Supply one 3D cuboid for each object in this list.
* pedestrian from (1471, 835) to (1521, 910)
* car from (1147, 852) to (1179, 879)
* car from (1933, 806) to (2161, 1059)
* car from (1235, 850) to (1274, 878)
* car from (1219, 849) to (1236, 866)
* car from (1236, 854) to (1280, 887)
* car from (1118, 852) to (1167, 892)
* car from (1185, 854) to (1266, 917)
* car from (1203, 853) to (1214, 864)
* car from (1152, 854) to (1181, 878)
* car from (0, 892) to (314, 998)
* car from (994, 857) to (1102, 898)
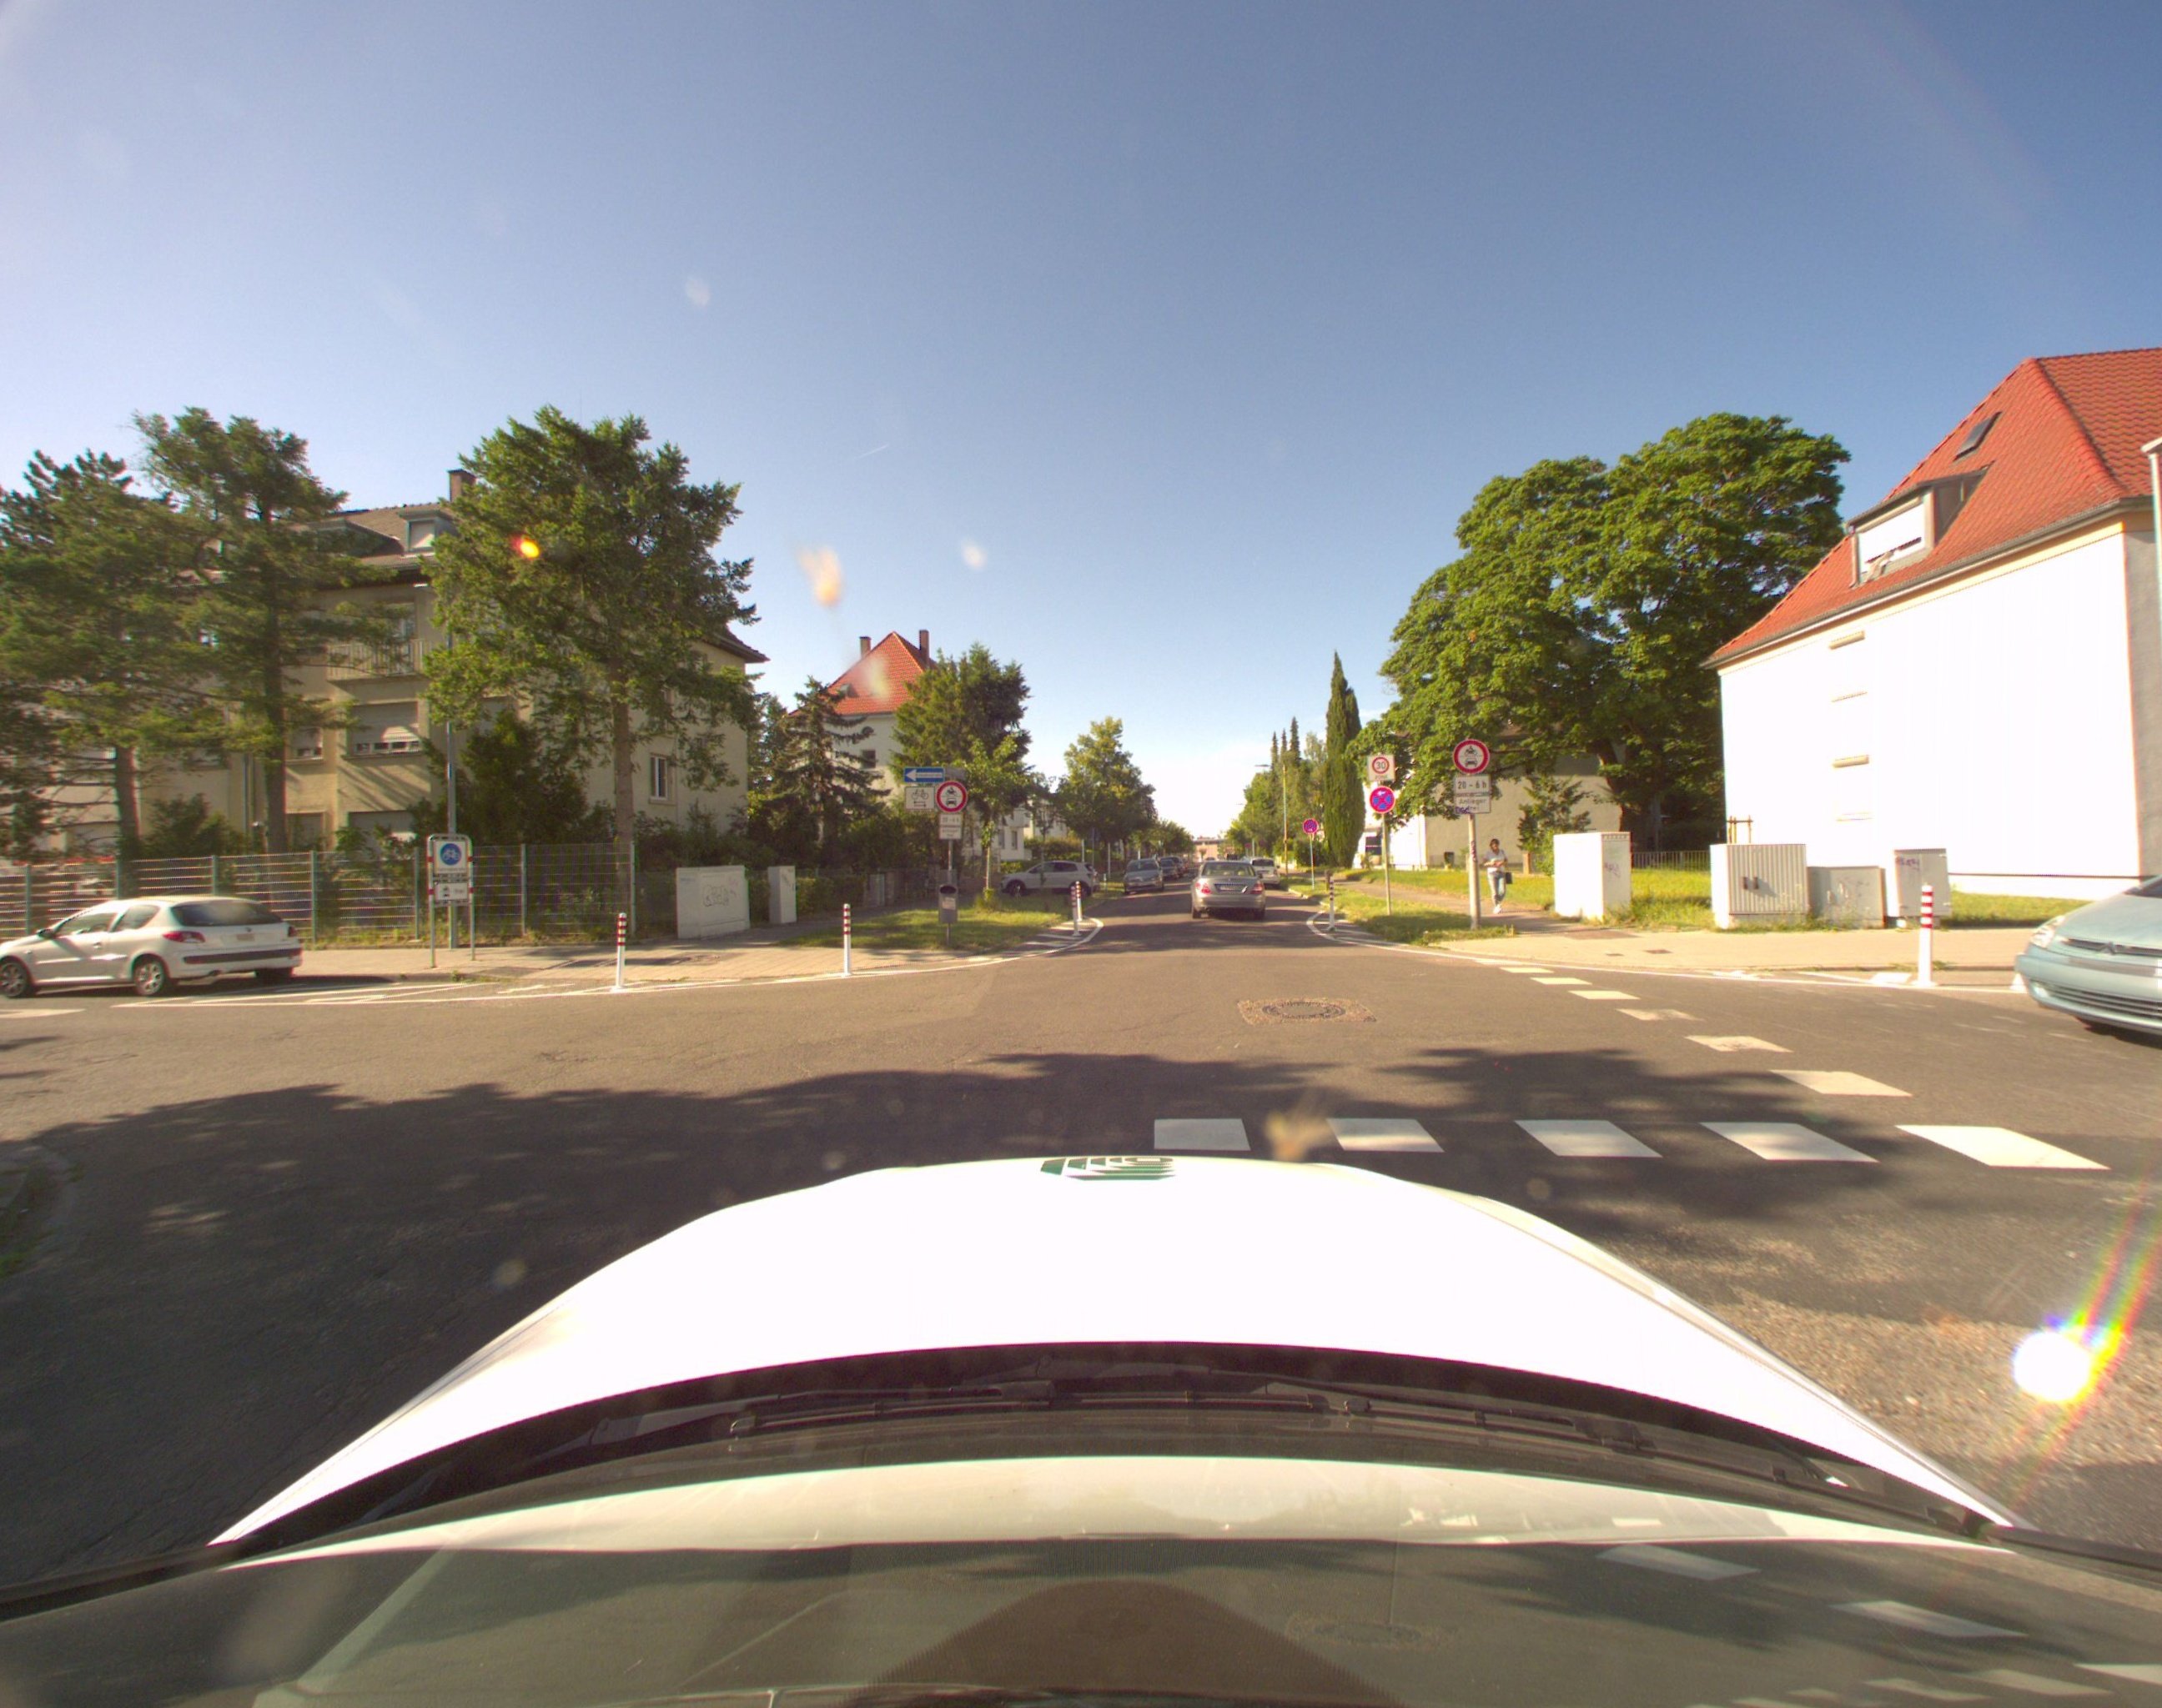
[{"bbox_3d":[9.266,0.405,18.203,0.761,1.611,0.837,-2,-1,13],"label":"pedestrian"},{"bbox_3d":[5.607,0.774,55.533,1.983,1.609,4.008,-5,-1,7],"label":"car"},{"bbox_3d":[9.063,0.427,5.545,4.208,1.608,1.894,-2,0,9],"label":"car"},{"bbox_3d":[10.621,0.583,50.095,1.983,1.609,4.008,-2,0,7],"label":"car"},{"bbox_3d":[17.015,0.384,94.699,1.844,1.841,4.009,-2,0,8],"label":"car"},{"bbox_3d":[8.517,0.749,39.431,1.724,1.480,3.732,-2,0,7],"label":"car"},{"bbox_3d":[2.910,0.795,37.884,1.983,1.609,4.008,-5,-1,7],"label":"car"},{"bbox_3d":[3.665,0.733,20.751,1.825,1.441,4.011,-1,0,10],"label":"car"},{"bbox_3d":[20.506,0.727,131.121,1.589,1.609,3.651,-2,0,7],"label":"car"},{"bbox_3d":[6.443,0.886,61.279,1.983,1.609,4.008,-5,-1,7],"label":"car"},{"bbox_3d":[-14.353,1.369,12.541,3.742,1.398,1.711,-2,-1,8],"label":"car"},{"bbox_3d":[-1.300,0.931,33.361,4.171,1.564,1.845,-1,0,5],"label":"car"}]
